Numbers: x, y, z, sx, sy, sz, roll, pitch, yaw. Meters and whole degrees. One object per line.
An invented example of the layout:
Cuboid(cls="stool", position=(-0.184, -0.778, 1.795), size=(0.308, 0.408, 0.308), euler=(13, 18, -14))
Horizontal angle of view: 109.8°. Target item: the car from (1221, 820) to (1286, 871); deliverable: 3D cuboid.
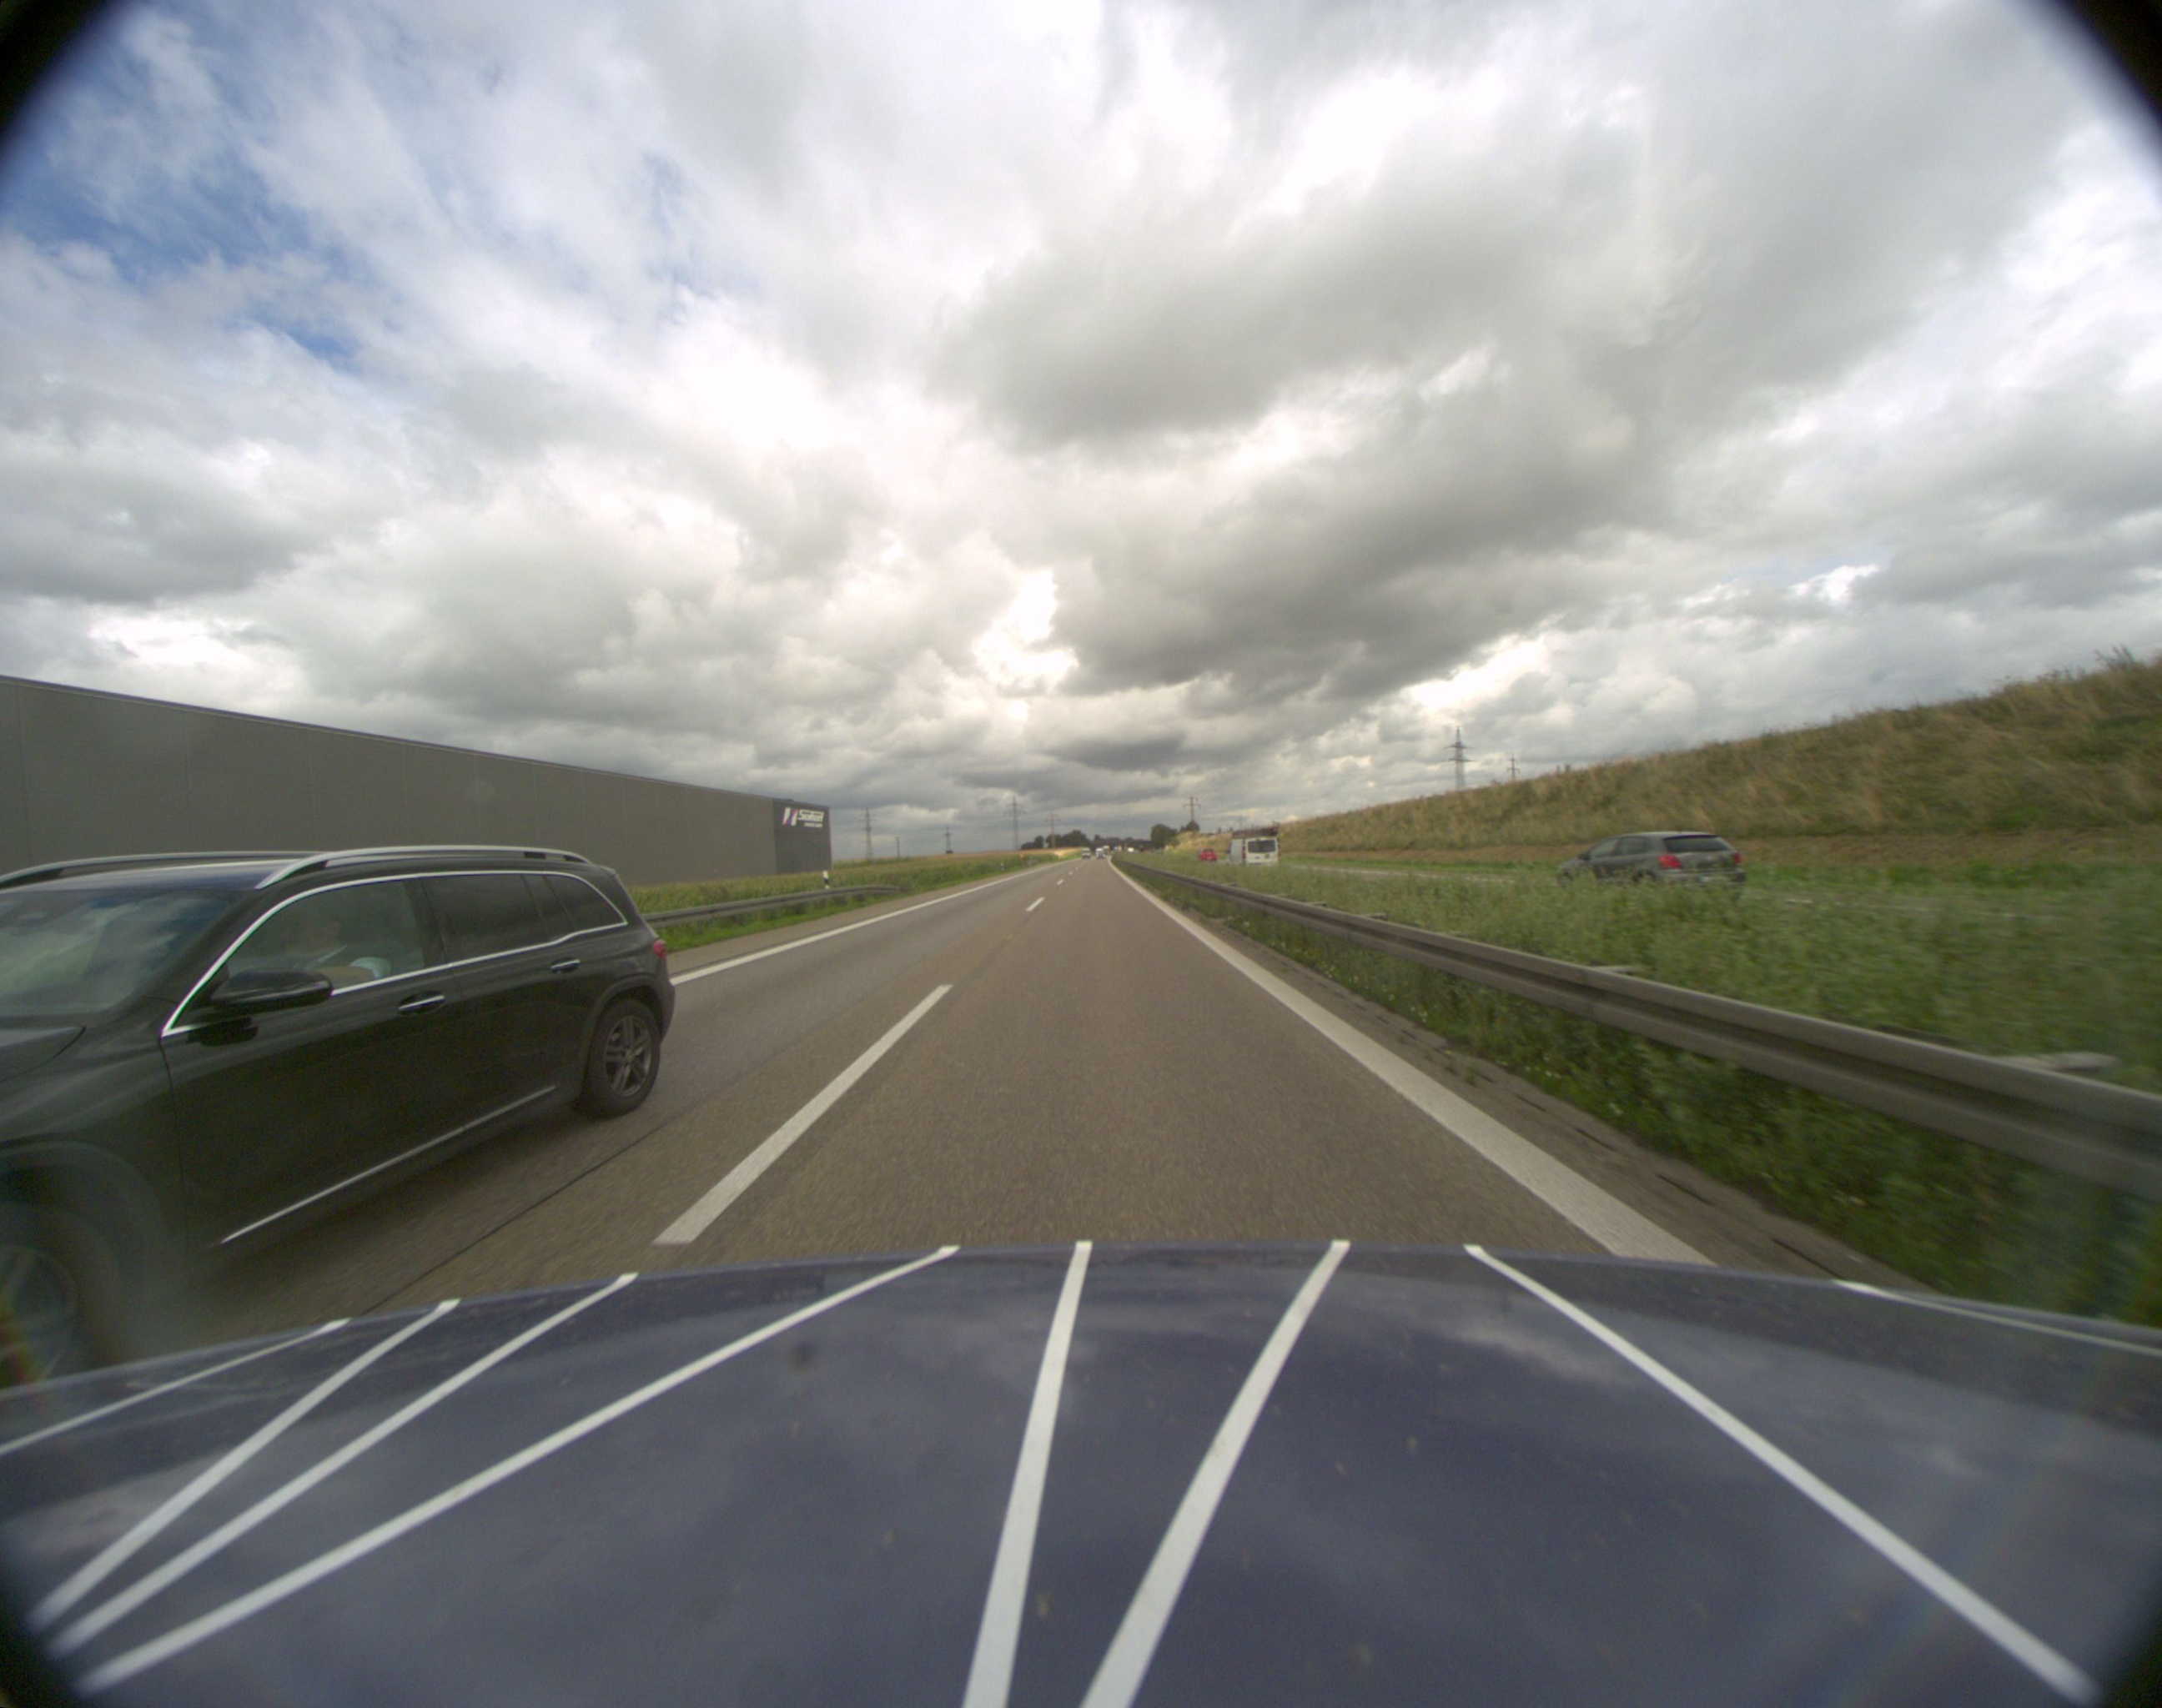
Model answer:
Cuboid(cls="car", position=(8.775, -0.444, 39.207), size=(1.998, 2.334, 5.870), euler=(-3, 1, 0))

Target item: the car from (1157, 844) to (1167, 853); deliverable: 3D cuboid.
Cuboid(cls="car", position=(16.755, -1.179, 157.584), size=(1.821, 1.692, 4.000), euler=(-3, 1, 2))

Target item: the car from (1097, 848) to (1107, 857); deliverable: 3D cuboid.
Cuboid(cls="car", position=(4.699, -0.355, 169.438), size=(1.998, 1.695, 4.663), euler=(-4, -1, 3))

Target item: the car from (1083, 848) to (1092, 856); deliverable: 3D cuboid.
Cuboid(cls="car", position=(1.652, -0.561, 186.061), size=(1.998, 1.812, 4.342), euler=(-2, 1, 3))

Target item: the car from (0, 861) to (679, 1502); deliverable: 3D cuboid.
Cuboid(cls="car", position=(-3.764, 0.918, 3.047), size=(1.838, 1.600, 4.360), euler=(-2, 1, 1))

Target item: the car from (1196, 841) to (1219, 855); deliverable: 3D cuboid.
Cuboid(cls="car", position=(13.663, -0.638, 82.254), size=(1.728, 1.395, 4.342), euler=(-3, 1, 1))

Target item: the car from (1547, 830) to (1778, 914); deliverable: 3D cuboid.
Cuboid(cls="car", position=(11.782, 0.292, 15.795), size=(1.776, 1.445, 3.999), euler=(-3, 1, 1))
